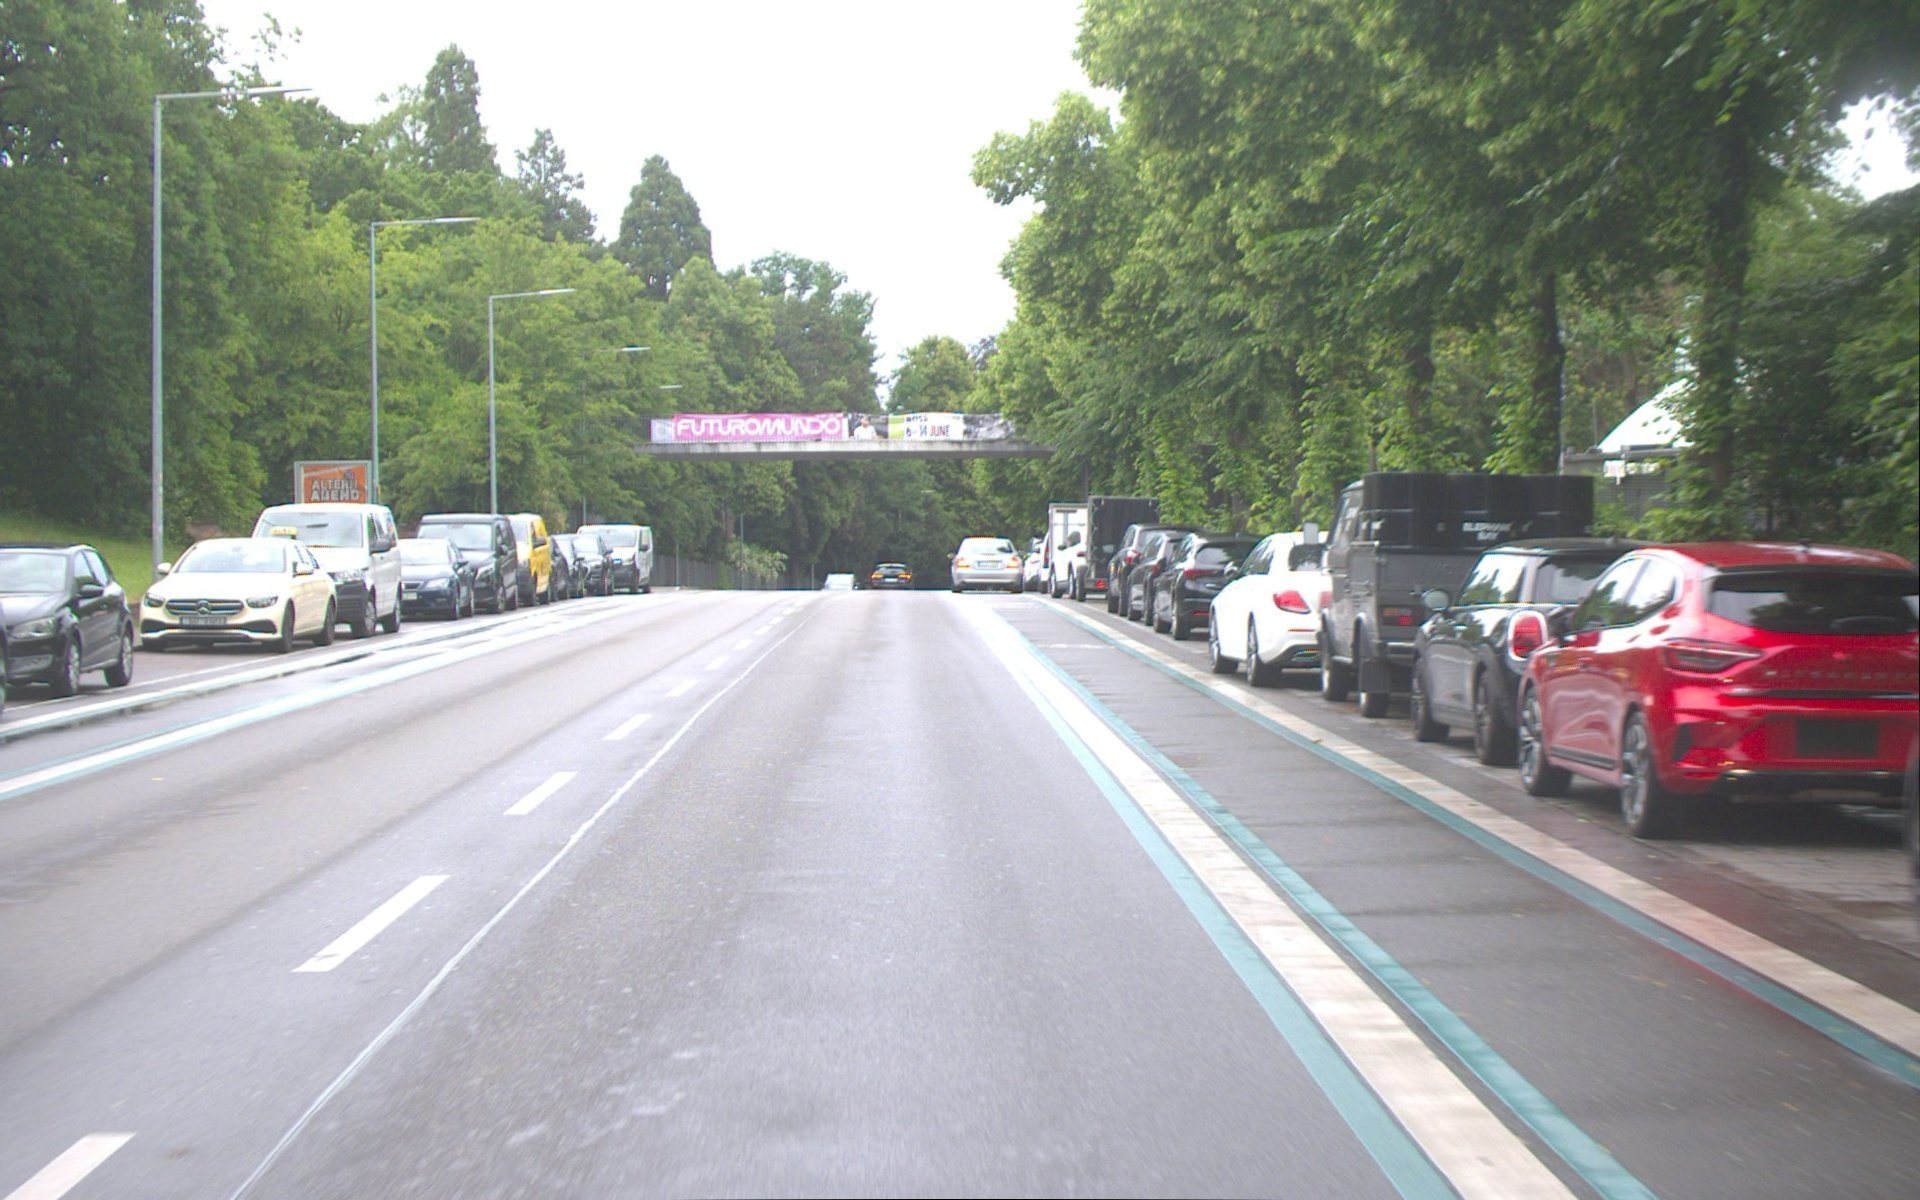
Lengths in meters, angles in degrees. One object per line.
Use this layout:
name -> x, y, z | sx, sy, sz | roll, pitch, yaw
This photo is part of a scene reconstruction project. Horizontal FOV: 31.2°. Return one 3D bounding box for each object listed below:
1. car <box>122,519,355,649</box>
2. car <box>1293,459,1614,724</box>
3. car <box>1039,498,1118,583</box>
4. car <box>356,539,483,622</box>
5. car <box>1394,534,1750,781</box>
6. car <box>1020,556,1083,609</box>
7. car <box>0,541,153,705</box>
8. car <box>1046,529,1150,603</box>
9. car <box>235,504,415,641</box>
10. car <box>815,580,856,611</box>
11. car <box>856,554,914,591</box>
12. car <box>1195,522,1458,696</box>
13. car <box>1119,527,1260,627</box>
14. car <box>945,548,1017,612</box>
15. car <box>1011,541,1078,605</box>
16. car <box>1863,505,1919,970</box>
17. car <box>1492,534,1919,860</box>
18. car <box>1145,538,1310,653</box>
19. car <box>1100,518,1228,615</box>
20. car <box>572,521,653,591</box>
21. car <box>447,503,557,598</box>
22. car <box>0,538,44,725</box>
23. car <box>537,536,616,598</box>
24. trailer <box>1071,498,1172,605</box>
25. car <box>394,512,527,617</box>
car -> -9.421, -0.256, 45.286 | 1.990, 1.600, 4.985 | 0, 1, 0
car -> 3.997, -0.122, 28.609 | 1.926, 2.015, 4.664 | 0, 1, -1
car -> 3.020, -1.534, 88.497 | 1.889, 2.120, 4.045 | 0, 1, 0
car -> -9.716, -0.379, 62.024 | 1.731, 1.385, 4.371 | 0, 2, -2
car -> 3.963, 0.314, 22.795 | 1.606, 1.448, 3.747 | 1, 1, -1
car -> 2.658, -0.531, 100.543 | 1.731, 1.457, 4.045 | 0, 1, 0
car -> -9.004, 0.177, 33.232 | 1.695, 1.432, 4.055 | 0, 2, -4
car -> 3.016, -0.767, 75.869 | 1.730, 1.578, 4.155 | -1, 1, -6
car -> -9.455, -0.463, 51.562 | 1.913, 1.924, 4.929 | 0, 2, -2
car -> -6.000, -0.205, 165.111 | 1.869, 1.468, 4.055 | 0, 0, -4
car -> -3.143, -1.146, 142.956 | 2.140, 1.487, 4.499 | 0, 1, -4
car -> 3.484, 0.038, 33.569 | 1.789, 1.537, 4.890 | 1, 1, -3
car -> 3.564, -0.388, 54.083 | 1.731, 1.458, 4.073 | 1, 1, -3
car -> 0.525, -0.543, 88.967 | 1.731, 1.578, 4.037 | 0, 1, -1
car -> 2.296, -0.752, 93.964 | 1.731, 1.678, 4.045 | 0, 1, 0
car -> 4.186, 0.530, 10.161 | 1.756, 1.584, 4.499 | 1, 1, -1
car -> 3.984, 0.411, 17.906 | 1.686, 1.448, 4.166 | 1, 1, -1
car -> 3.658, -0.096, 47.639 | 1.731, 1.458, 4.278 | 1, 1, -3
car -> 3.496, -0.600, 59.557 | 1.731, 1.578, 4.155 | 1, 1, -3
car -> -9.838, -1.272, 97.683 | 1.757, 1.925, 4.193 | 0, 2, 2
car -> -9.792, -1.093, 73.735 | 1.882, 1.938, 4.827 | 0, 2, -2
car -> -8.625, 0.280, 26.635 | 2.077, 1.477, 4.674 | -1, 1, -4
car -> -10.053, -0.892, 90.245 | 1.870, 1.536, 4.055 | 0, 2, -4
trailer -> 3.340, -1.019, 71.752 | 1.884, 2.158, 3.808 | 0, 1, 0
car -> -9.753, -0.729, 67.482 | 1.990, 1.939, 5.143 | 0, 2, -2
